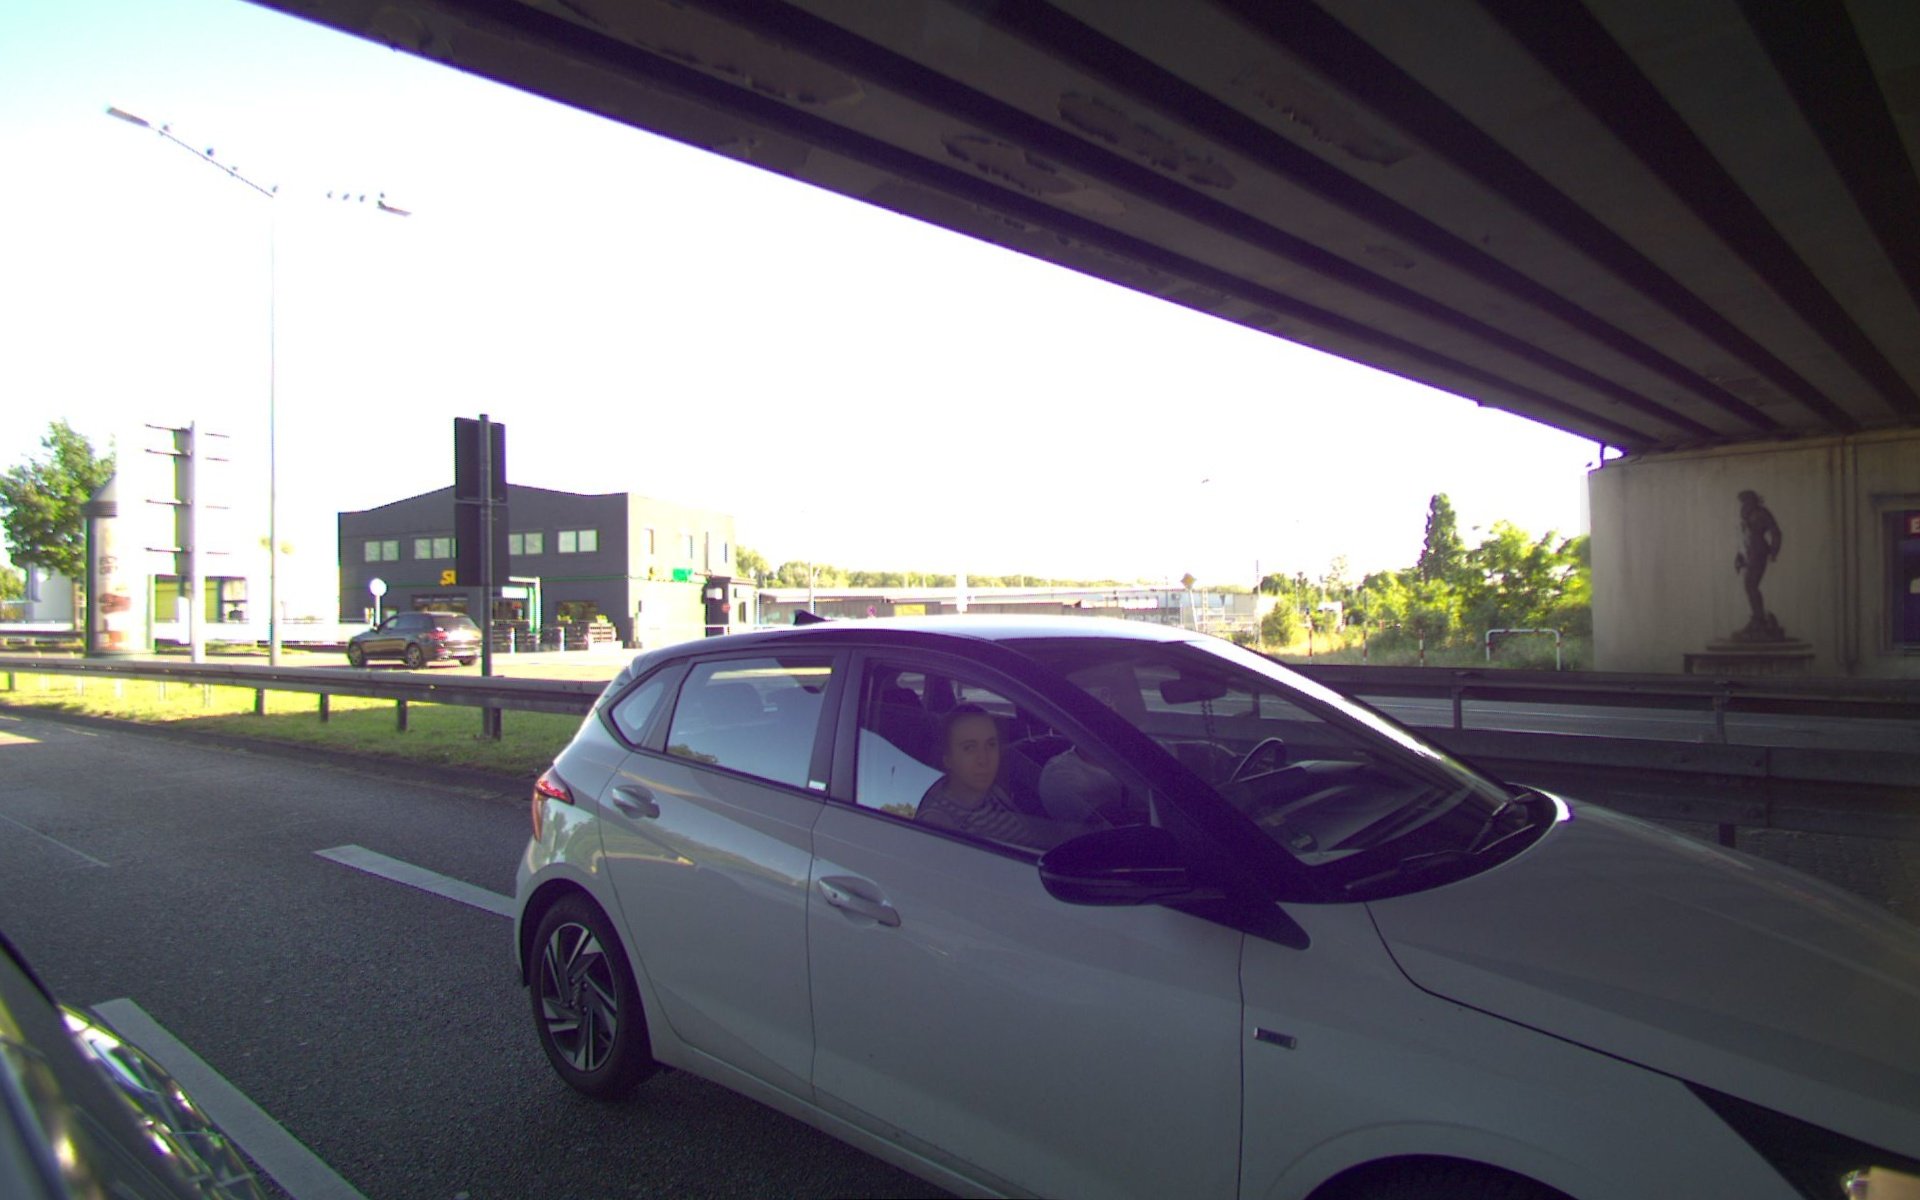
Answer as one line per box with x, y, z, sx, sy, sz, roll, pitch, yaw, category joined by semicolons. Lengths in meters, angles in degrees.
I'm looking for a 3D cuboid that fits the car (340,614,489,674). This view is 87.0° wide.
-16.044;1.253;29.725;4.346;1.629;1.839;-1;0;30;car

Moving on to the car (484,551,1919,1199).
0.474;0.692;2.756;3.867;1.414;1.715;-2;-1;39;car

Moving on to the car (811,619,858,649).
-6.763;1.821;54.974;1.858;1.453;3.996;-1;0;3;car
